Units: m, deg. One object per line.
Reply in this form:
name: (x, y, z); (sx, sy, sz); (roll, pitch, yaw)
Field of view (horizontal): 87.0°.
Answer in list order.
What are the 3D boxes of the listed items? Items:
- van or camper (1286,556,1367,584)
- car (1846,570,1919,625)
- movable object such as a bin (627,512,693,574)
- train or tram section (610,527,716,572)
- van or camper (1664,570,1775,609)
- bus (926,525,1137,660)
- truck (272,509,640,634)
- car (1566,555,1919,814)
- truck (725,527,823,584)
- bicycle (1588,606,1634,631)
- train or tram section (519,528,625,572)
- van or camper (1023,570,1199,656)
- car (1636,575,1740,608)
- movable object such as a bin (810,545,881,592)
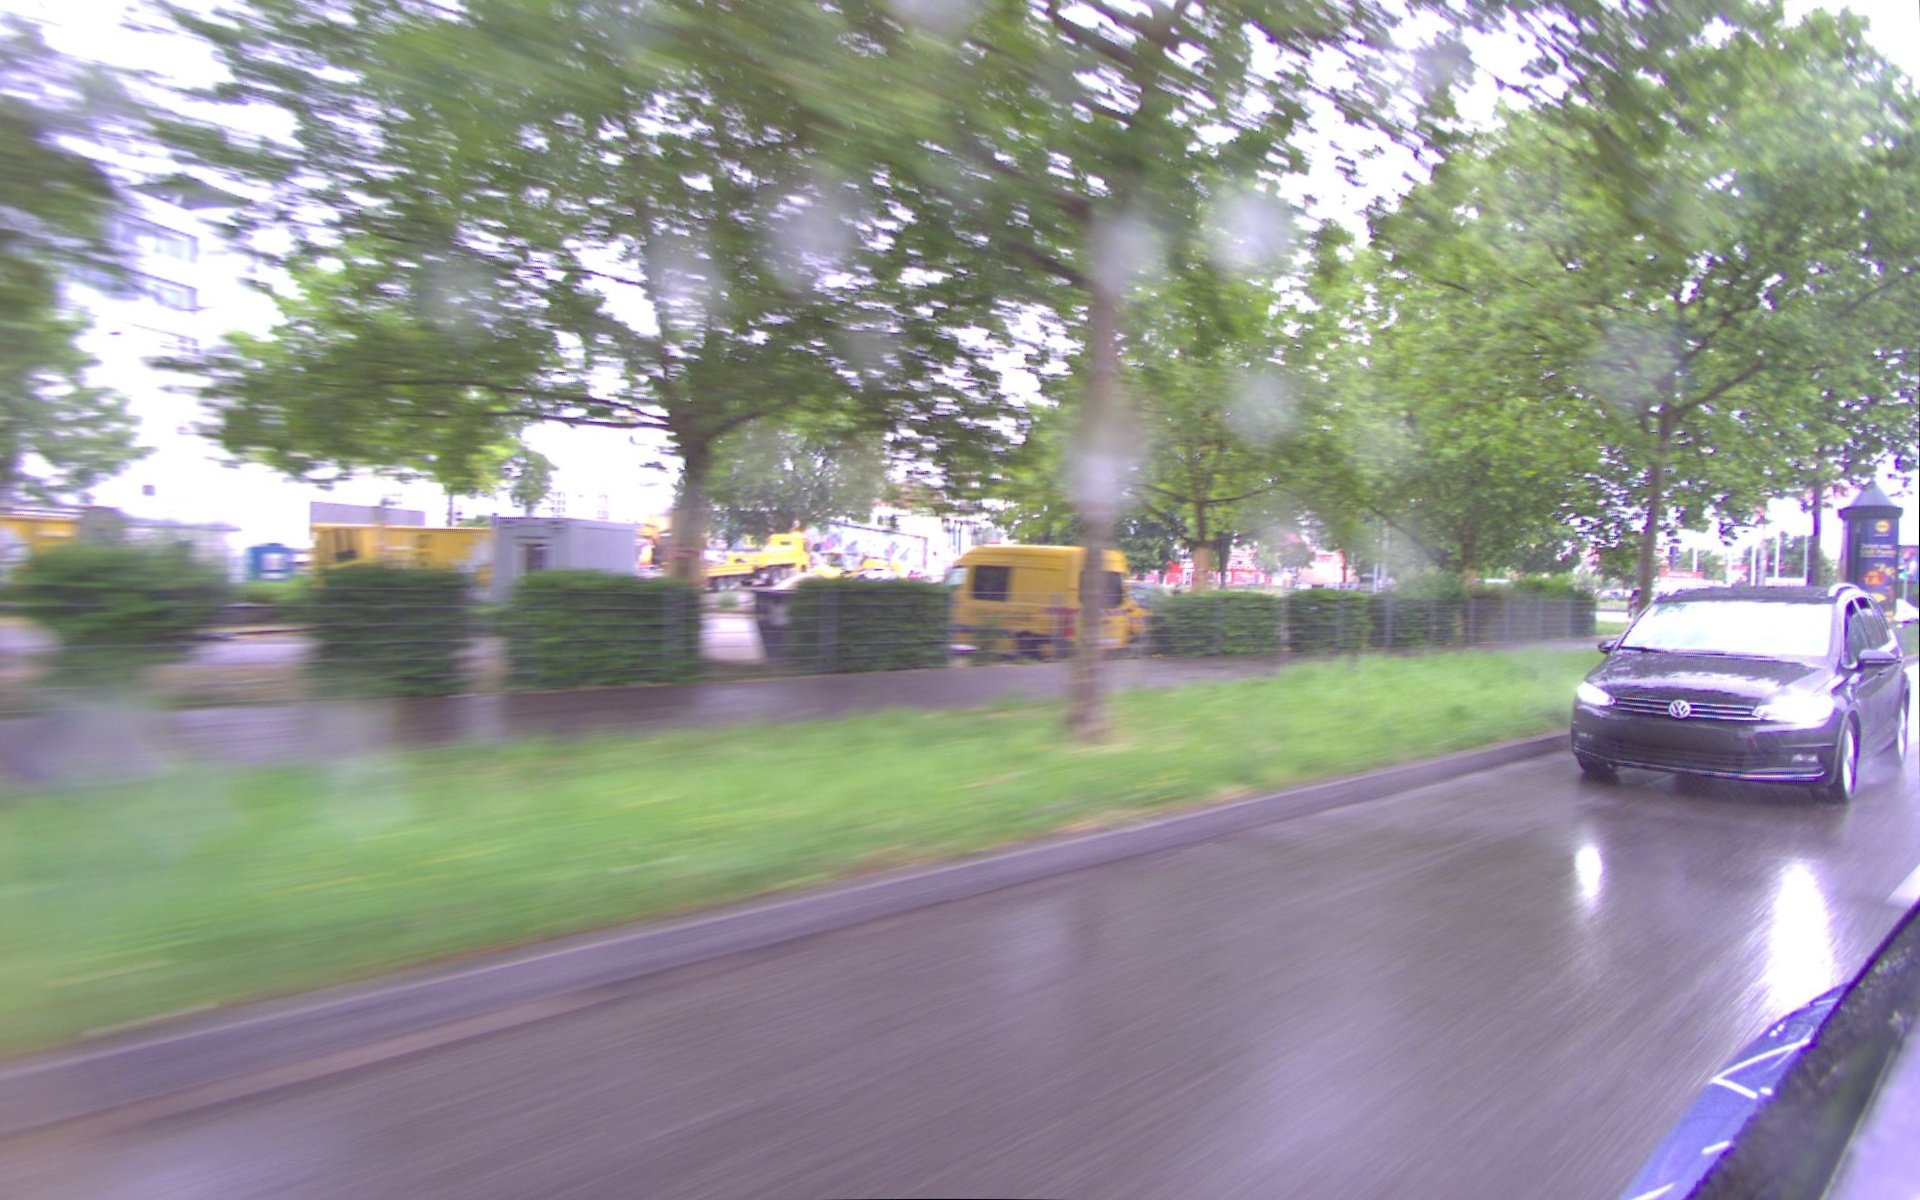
van or camper: (43.380, -3.553, 120.086); (8.851, 3.196, 2.974); (0, 1, 15)
car: (37.822, -0.112, 40.462); (1.908, 2.081, 4.726); (2, 2, 19)
movable object such as a bin: (-18.728, -3.547, 63.406); (3.253, 3.670, 3.617); (1, 2, -5)
train or tram section: (-24.293, -4.080, 82.858); (8.242, 3.563, 2.392); (0, 1, 13)
van or camper: (45.320, -0.678, 60.477); (4.833, 2.114, 1.862); (2, 2, 12)
bus: (1.470, -0.218, 22.614); (1.963, 2.680, 4.805); (0, 1, -38)
truck: (-13.700, -0.762, 27.600); (9.364, 3.069, 3.068); (0, 1, 15)
car: (7.097, 0.550, 8.889); (4.117, 1.748, 1.860); (0, 1, -41)
truck: (-11.803, -2.788, 65.383); (2.460, 3.386, 9.429); (0, 2, 15)
bicycle: (29.988, 0.854, 46.643); (0.795, 1.051, 1.629); (1, 2, -19)
train or tram section: (-32.458, -4.105, 84.679); (8.400, 3.563, 2.392); (0, 1, 13)
van or camper: (3.602, 0.254, 24.630); (1.772, 1.931, 3.991); (1, 1, -43)
car: (41.620, -0.532, 57.955); (4.393, 1.693, 1.862); (2, 2, 12)
movable object such as a bin: (-6.145, -1.699, 54.405); (3.251, 2.384, 1.995); (2, 2, 28)
